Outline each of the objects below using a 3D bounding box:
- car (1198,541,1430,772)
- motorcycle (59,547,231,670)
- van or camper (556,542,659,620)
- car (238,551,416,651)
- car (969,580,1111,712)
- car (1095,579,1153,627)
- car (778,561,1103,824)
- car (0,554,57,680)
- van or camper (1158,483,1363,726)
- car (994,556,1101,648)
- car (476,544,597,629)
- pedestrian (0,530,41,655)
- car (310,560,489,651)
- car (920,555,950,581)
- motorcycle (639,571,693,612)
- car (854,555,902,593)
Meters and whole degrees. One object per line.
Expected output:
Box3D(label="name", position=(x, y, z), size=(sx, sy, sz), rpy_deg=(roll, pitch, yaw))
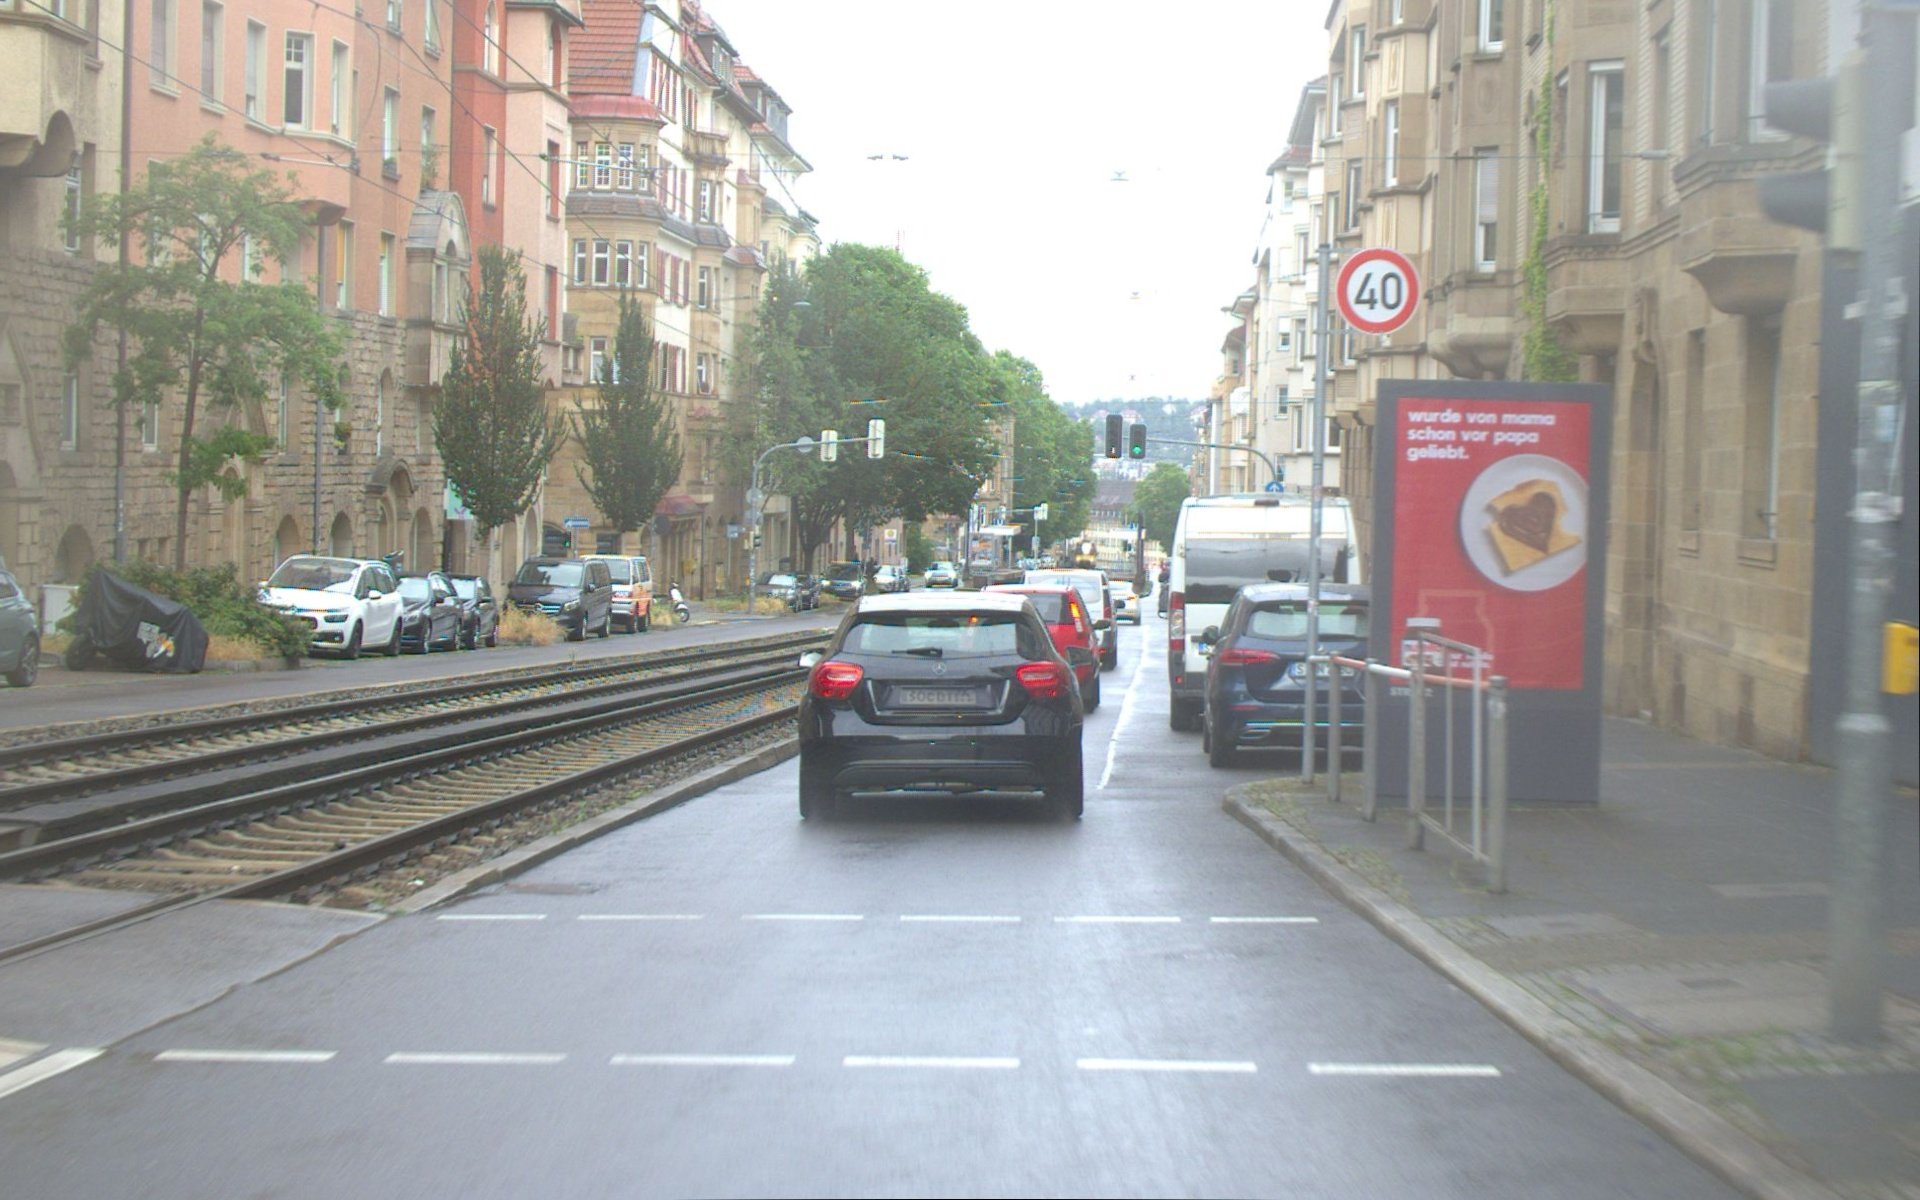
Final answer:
Box3D(label="car", position=(3.003, 0.440, 29.942), size=(1.769, 1.802, 4.481), rpy_deg=(2, 0, 4))
Box3D(label="motorcycle", position=(-11.208, 0.103, 47.322), size=(2.258, 1.637, 1.293), rpy_deg=(-1, 0, -13))
Box3D(label="van or camper", position=(-8.999, -0.514, 88.106), size=(1.993, 1.895, 4.699), rpy_deg=(2, 1, 2))
Box3D(label="car", position=(-10.577, -0.002, 57.762), size=(1.785, 1.584, 4.350), rpy_deg=(-1, 0, 6))
Box3D(label="car", position=(1.029, 0.524, 42.476), size=(1.536, 1.505, 3.999), rpy_deg=(2, 0, 4))
Box3D(label="car", position=(5.578, 0.114, 116.523), size=(1.903, 1.588, 3.999), rpy_deg=(1, -1, 3))
Box3D(label="car", position=(-0.043, 0.559, 22.510), size=(1.946, 1.559, 3.642), rpy_deg=(1, 0, 2))
Box3D(label="car", position=(-11.749, 0.192, 39.237), size=(1.561, 1.433, 4.145), rpy_deg=(1, 1, 3))
Box3D(label="van or camper", position=(3.293, 0.046, 38.431), size=(2.065, 2.460, 6.118), rpy_deg=(1, 0, 4))
Box3D(label="car", position=(1.627, 0.010, 65.262), size=(1.921, 1.649, 4.000), rpy_deg=(1, 1, 0))
Box3D(label="car", position=(-9.900, -0.323, 80.717), size=(1.994, 1.895, 4.698), rpy_deg=(1, 1, 3))
Box3D(label="pedestrian", position=(-13.742, -0.126, 48.828), size=(1.007, 1.747, 0.924), rpy_deg=(3, 0, 4))
Box3D(label="car", position=(-10.312, 0.075, 63.630), size=(1.994, 1.504, 4.973), rpy_deg=(3, 1, 5))
Box3D(label="car", position=(-1.549, -1.974, 214.134), size=(1.795, 1.543, 4.000), rpy_deg=(2, 0, 0))
Box3D(label="motorcycle", position=(-8.438, -0.239, 98.659), size=(1.439, 1.130, 0.619), rpy_deg=(2, 0, 33))
Box3D(label="car", position=(-4.036, -1.288, 170.299), size=(1.994, 1.788, 4.000), rpy_deg=(2, 1, 4))
